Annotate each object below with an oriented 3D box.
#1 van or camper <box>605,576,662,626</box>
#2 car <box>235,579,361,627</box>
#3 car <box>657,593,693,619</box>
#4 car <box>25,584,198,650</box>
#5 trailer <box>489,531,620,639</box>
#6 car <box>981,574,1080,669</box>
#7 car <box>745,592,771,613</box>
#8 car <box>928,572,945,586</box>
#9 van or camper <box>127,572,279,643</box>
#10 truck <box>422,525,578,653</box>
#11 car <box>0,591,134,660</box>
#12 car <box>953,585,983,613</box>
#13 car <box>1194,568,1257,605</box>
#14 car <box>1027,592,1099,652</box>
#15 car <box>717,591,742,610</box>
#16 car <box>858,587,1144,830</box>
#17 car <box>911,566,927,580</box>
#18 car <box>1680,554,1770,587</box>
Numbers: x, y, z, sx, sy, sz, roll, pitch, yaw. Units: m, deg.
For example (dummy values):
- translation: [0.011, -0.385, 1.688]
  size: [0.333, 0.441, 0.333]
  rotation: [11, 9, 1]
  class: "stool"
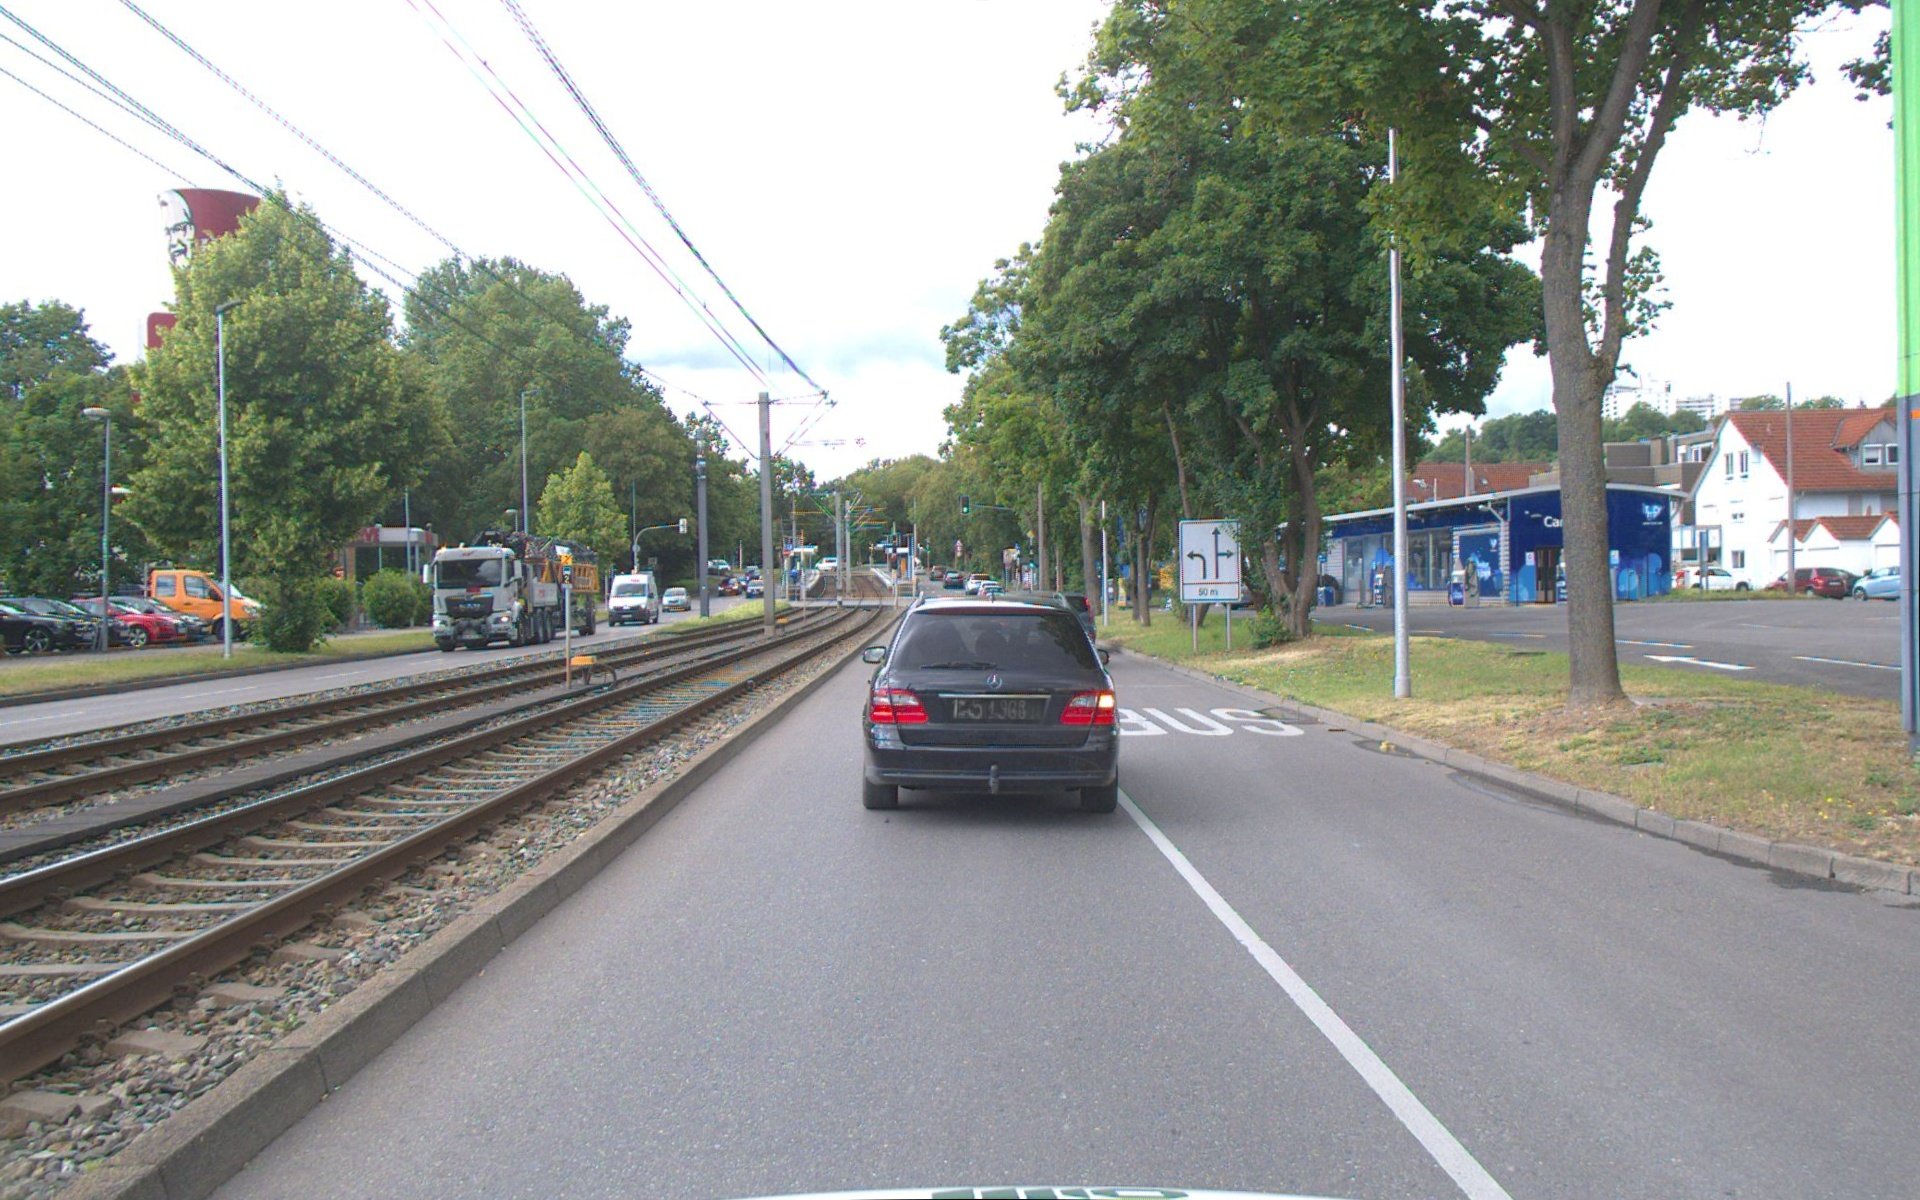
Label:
- translation: [-16.670, 0.016, 84.663]
  size: [1.954, 2.395, 5.762]
  rotation: [-1, 0, -3]
  class: "van or camper"
- translation: [-24.297, 0.106, 60.828]
  size: [3.910, 1.627, 1.794]
  rotation: [-2, 0, -6]
  class: "car"
- translation: [-18.735, 0.374, 108.885]
  size: [1.729, 1.676, 3.770]
  rotation: [1, 0, -1]
  class: "car"
- translation: [-24.009, 0.458, 46.921]
  size: [3.909, 1.829, 1.876]
  rotation: [0, 0, -6]
  class: "car"
- translation: [-15.608, -0.574, 64.736]
  size: [2.651, 3.724, 13.288]
  rotation: [-1, 0, -4]
  class: "trailer"
- translation: [1.372, 0.411, 33.435]
  size: [1.744, 1.781, 3.717]
  rotation: [1, 0, -1]
  class: "car"
- translation: [-16.929, 0.199, 138.863]
  size: [1.729, 1.676, 3.770]
  rotation: [1, 0, -1]
  class: "car"
- translation: [-2.691, -2.430, 188.795]
  size: [1.634, 1.559, 3.767]
  rotation: [1, 0, -4]
  class: "car"
- translation: [-23.794, 0.230, 52.097]
  size: [3.909, 2.172, 1.876]
  rotation: [0, 0, -6]
  class: "van or camper"
- translation: [-14.943, -0.364, 54.706]
  size: [2.653, 3.727, 11.104]
  rotation: [-1, 0, -4]
  class: "truck"
- translation: [-23.313, 0.641, 41.754]
  size: [3.910, 1.627, 1.876]
  rotation: [-2, 1, -6]
  class: "car"
- translation: [0.517, -0.053, 113.232]
  size: [1.953, 1.870, 3.999]
  rotation: [1, 0, -1]
  class: "car"
- translation: [13.015, -0.677, 80.847]
  size: [1.965, 1.712, 4.579]
  rotation: [-1, 1, 23]
  class: "car"
- translation: [2.584, 0.544, 42.098]
  size: [1.539, 1.439, 3.353]
  rotation: [1, 0, -1]
  class: "car"
- translation: [-21.137, 0.013, 151.754]
  size: [1.729, 1.676, 3.770]
  rotation: [1, 0, -1]
  class: "car"
- translation: [0.227, 0.659, 12.216]
  size: [1.772, 1.500, 3.880]
  rotation: [0, 1, -1]
  class: "car"
- translation: [-5.235, -3.493, 212.217]
  size: [1.953, 1.744, 3.999]
  rotation: [-1, 1, -1]
  class: "car"
- translation: [41.642, -1.603, 90.046]
  size: [4.132, 1.713, 1.776]
  rotation: [1, 0, -4]
  class: "car"
